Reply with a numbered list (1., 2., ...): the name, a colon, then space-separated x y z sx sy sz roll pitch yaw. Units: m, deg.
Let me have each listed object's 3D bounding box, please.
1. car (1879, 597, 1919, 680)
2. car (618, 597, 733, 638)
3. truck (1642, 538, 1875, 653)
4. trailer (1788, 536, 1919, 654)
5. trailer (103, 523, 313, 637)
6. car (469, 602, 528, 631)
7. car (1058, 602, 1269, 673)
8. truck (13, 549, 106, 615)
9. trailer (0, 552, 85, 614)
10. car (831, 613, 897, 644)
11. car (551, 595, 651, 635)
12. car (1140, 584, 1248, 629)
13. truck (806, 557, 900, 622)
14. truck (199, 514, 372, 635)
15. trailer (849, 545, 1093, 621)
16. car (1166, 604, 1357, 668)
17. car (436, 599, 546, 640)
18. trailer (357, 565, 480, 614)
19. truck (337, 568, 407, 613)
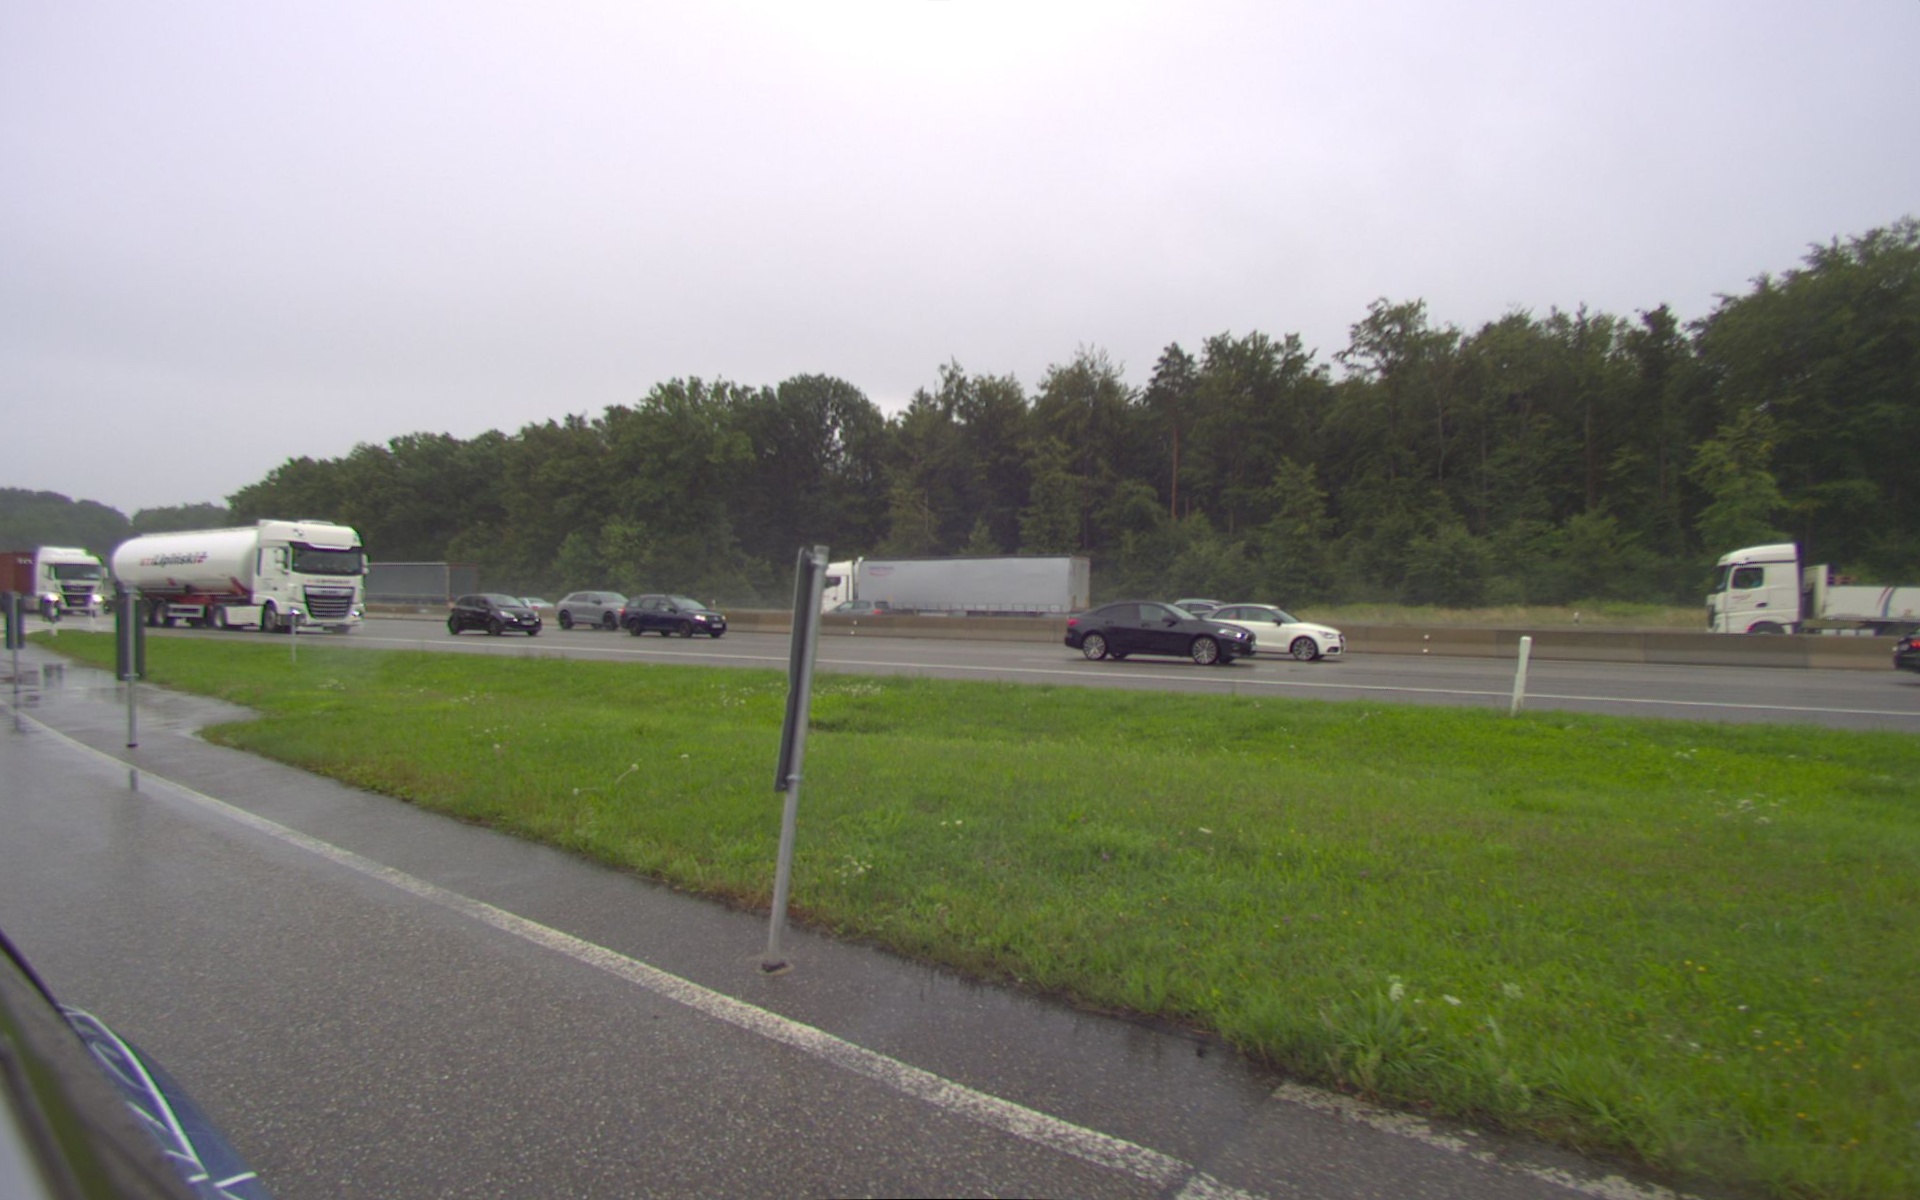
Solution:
1. car: 20.233 0.754 18.686 4.514 1.552 1.978 1 -1 32
2. car: -10.447 0.648 37.105 4.109 1.425 1.804 -1 -1 32
3. truck: 27.465 -0.134 35.182 5.969 3.697 2.604 -2 2 31
4. trailer: 34.832 -0.313 30.785 14.616 3.707 2.597 -2 2 31
5. trailer: -29.837 -0.680 39.923 11.003 4.056 2.741 0 -1 32
6. car: -27.442 0.988 60.208 3.386 1.341 1.400 -5 3 30
7. car: 4.721 0.812 23.612 4.483 1.492 1.868 1 0 29
8. truck: -53.075 -1.104 59.632 5.309 3.683 2.669 1 3 33
9. trailer: -60.073 -1.108 64.157 15.079 3.530 2.663 1 3 33
10. car: -5.182 1.539 54.464 3.267 1.341 1.400 -5 3 30
11. car: -15.962 0.655 44.949 4.389 1.681 1.804 0 -1 32
12. car: 9.104 0.262 39.383 3.706 1.374 1.632 -4 4 30
13. truck: -6.345 -0.633 60.268 4.745 3.560 2.695 -2 3 31
14. truck: -24.418 -0.840 36.571 6.485 4.039 2.730 0 -1 31
15. trailer: 0.319 -0.834 56.203 14.008 3.564 2.705 -2 3 31
16. car: 7.863 0.877 26.533 4.488 1.492 1.865 1 0 32
17. car: -16.813 0.666 36.224 3.991 1.383 1.802 0 -1 35
18. trailer: -45.744 -0.838 85.200 13.367 3.840 3.004 0 1 33
19. truck: -51.781 -0.825 89.091 5.627 3.775 3.018 0 1 33
